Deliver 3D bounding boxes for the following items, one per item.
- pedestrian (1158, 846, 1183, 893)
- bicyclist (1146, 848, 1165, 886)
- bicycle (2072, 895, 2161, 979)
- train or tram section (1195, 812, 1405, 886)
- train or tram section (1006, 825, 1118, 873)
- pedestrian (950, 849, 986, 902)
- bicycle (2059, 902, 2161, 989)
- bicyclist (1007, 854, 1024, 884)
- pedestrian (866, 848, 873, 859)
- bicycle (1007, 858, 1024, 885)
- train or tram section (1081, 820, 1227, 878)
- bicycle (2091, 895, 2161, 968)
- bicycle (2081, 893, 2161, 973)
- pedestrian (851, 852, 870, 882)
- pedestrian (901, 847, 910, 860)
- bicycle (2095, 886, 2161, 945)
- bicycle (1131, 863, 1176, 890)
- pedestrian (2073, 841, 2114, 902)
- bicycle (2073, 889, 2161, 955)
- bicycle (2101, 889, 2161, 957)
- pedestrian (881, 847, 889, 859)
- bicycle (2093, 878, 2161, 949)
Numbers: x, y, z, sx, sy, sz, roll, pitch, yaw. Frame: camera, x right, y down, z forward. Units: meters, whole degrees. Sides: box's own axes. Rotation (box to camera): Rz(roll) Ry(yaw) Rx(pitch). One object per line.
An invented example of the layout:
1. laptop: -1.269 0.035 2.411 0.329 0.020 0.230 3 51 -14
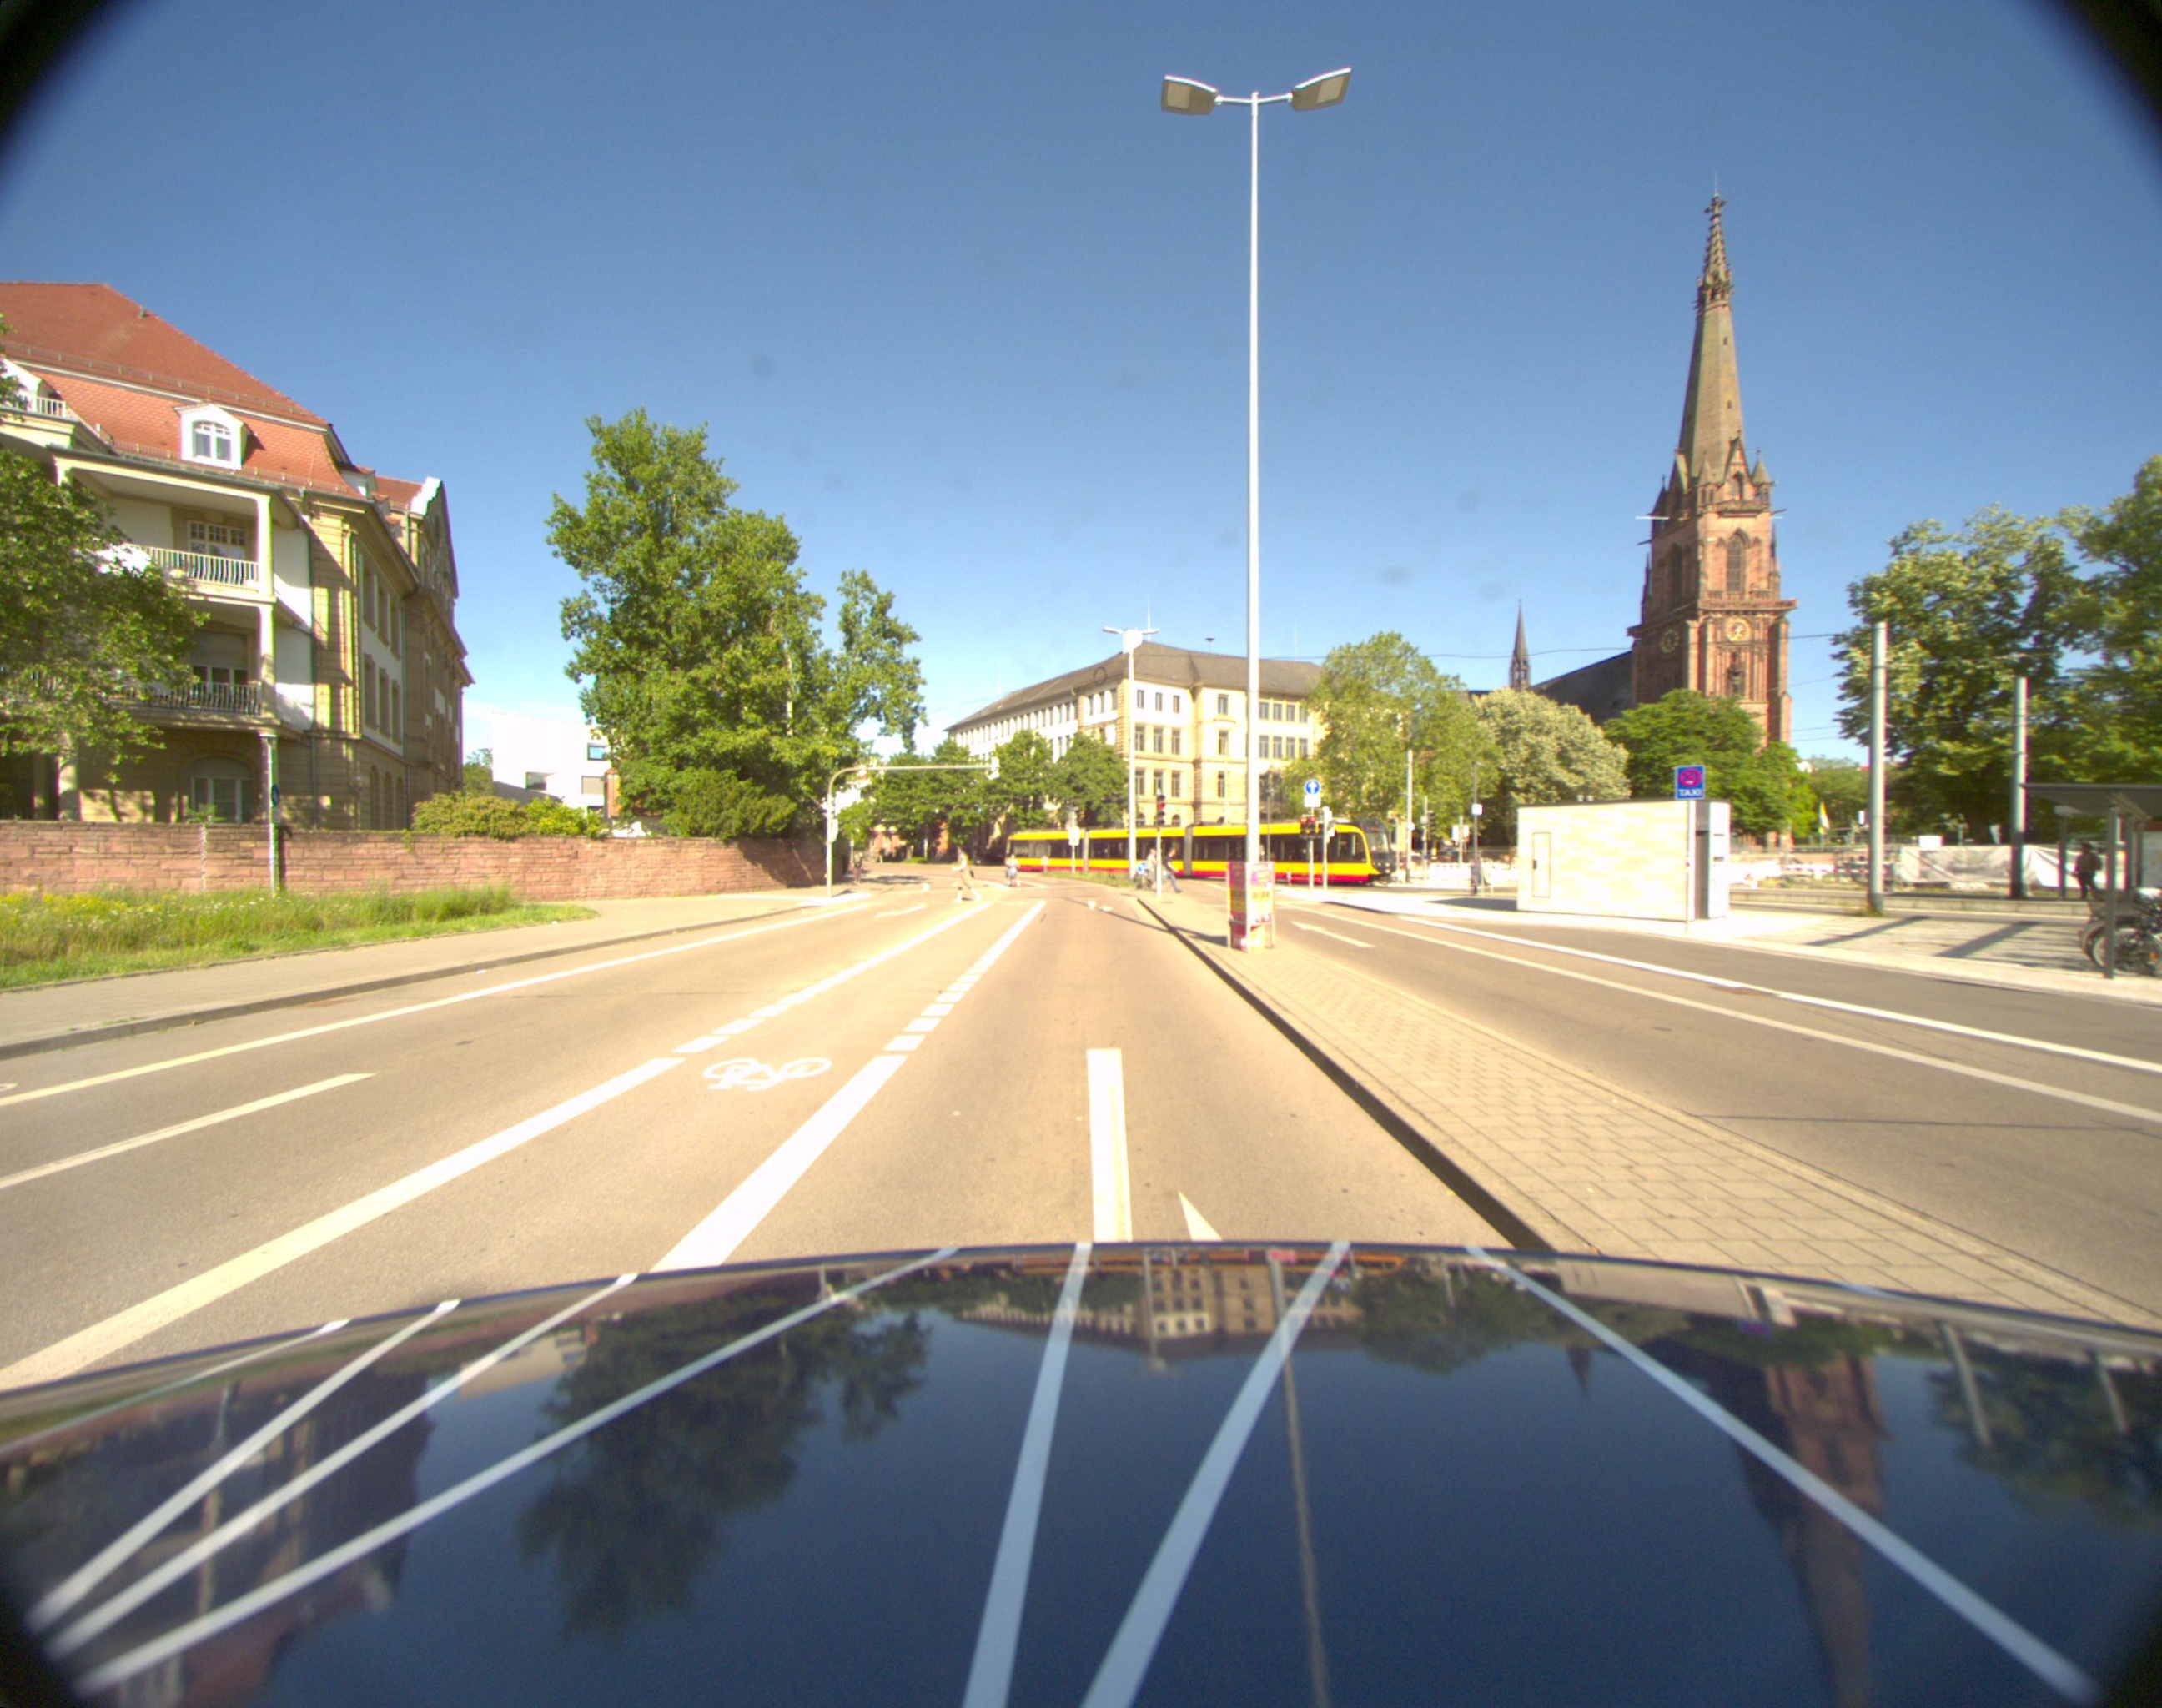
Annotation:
1. pedestrian: 3.602 0.622 30.565 0.960 1.839 0.732 1 1 8
2. bicyclist: 3.204 0.559 32.662 0.777 1.596 0.723 -1 1 6
3. bicycle: 14.673 1.123 10.054 0.630 1.059 1.826 -1 1 -32
4. train or tram section: 11.680 -0.270 42.582 2.838 3.580 12.294 -1 1 -35
5. train or tram section: -1.874 -0.401 62.174 2.806 3.580 12.504 -1 1 -35
6. pedestrian: -4.093 0.753 27.384 1.230 1.845 0.826 0 1 -11
7. bicycle: 13.935 1.199 9.583 0.702 1.002 1.863 -1 2 -32
8. bicyclist: -3.472 0.756 40.116 0.870 1.551 1.279 0 1 -8
9. pedestrian: -34.156 -0.094 122.712 0.759 1.802 0.978 -1 1 -38
10. bicycle: -3.461 0.905 40.080 0.762 1.360 2.736 0 1 -8
11. train or tram section: 4.661 -0.326 52.753 2.806 3.580 12.294 -1 1 -35
12. bicycle: 16.180 1.154 10.992 0.630 1.002 1.826 -1 1 -32
13. bicycle: 15.143 1.109 10.319 0.574 1.045 1.826 -1 1 -32
14. pedestrian: -12.421 0.719 42.912 0.940 1.711 0.994 0 1 -12
15. pedestrian: -25.965 -0.113 112.394 0.979 1.801 0.758 -3 -2 7
16. bicycle: 19.528 1.116 13.449 0.630 1.002 1.826 -1 1 -32
17. bicycle: 3.133 0.971 32.686 1.882 1.064 0.725 -2 1 6
18. pedestrian: 30.914 0.516 23.199 0.606 1.845 0.679 -1 1 -33
19. bicycle: 17.815 1.129 12.452 0.630 1.002 1.826 -1 1 -32
20. bicycle: 17.167 1.092 11.616 0.630 1.002 1.826 -1 1 -32
21. pedestrian: -29.167 -0.133 113.062 0.759 1.802 0.977 -1 1 -40
22. bicycle: 18.949 1.039 13.040 0.630 1.173 1.826 -1 1 -32
